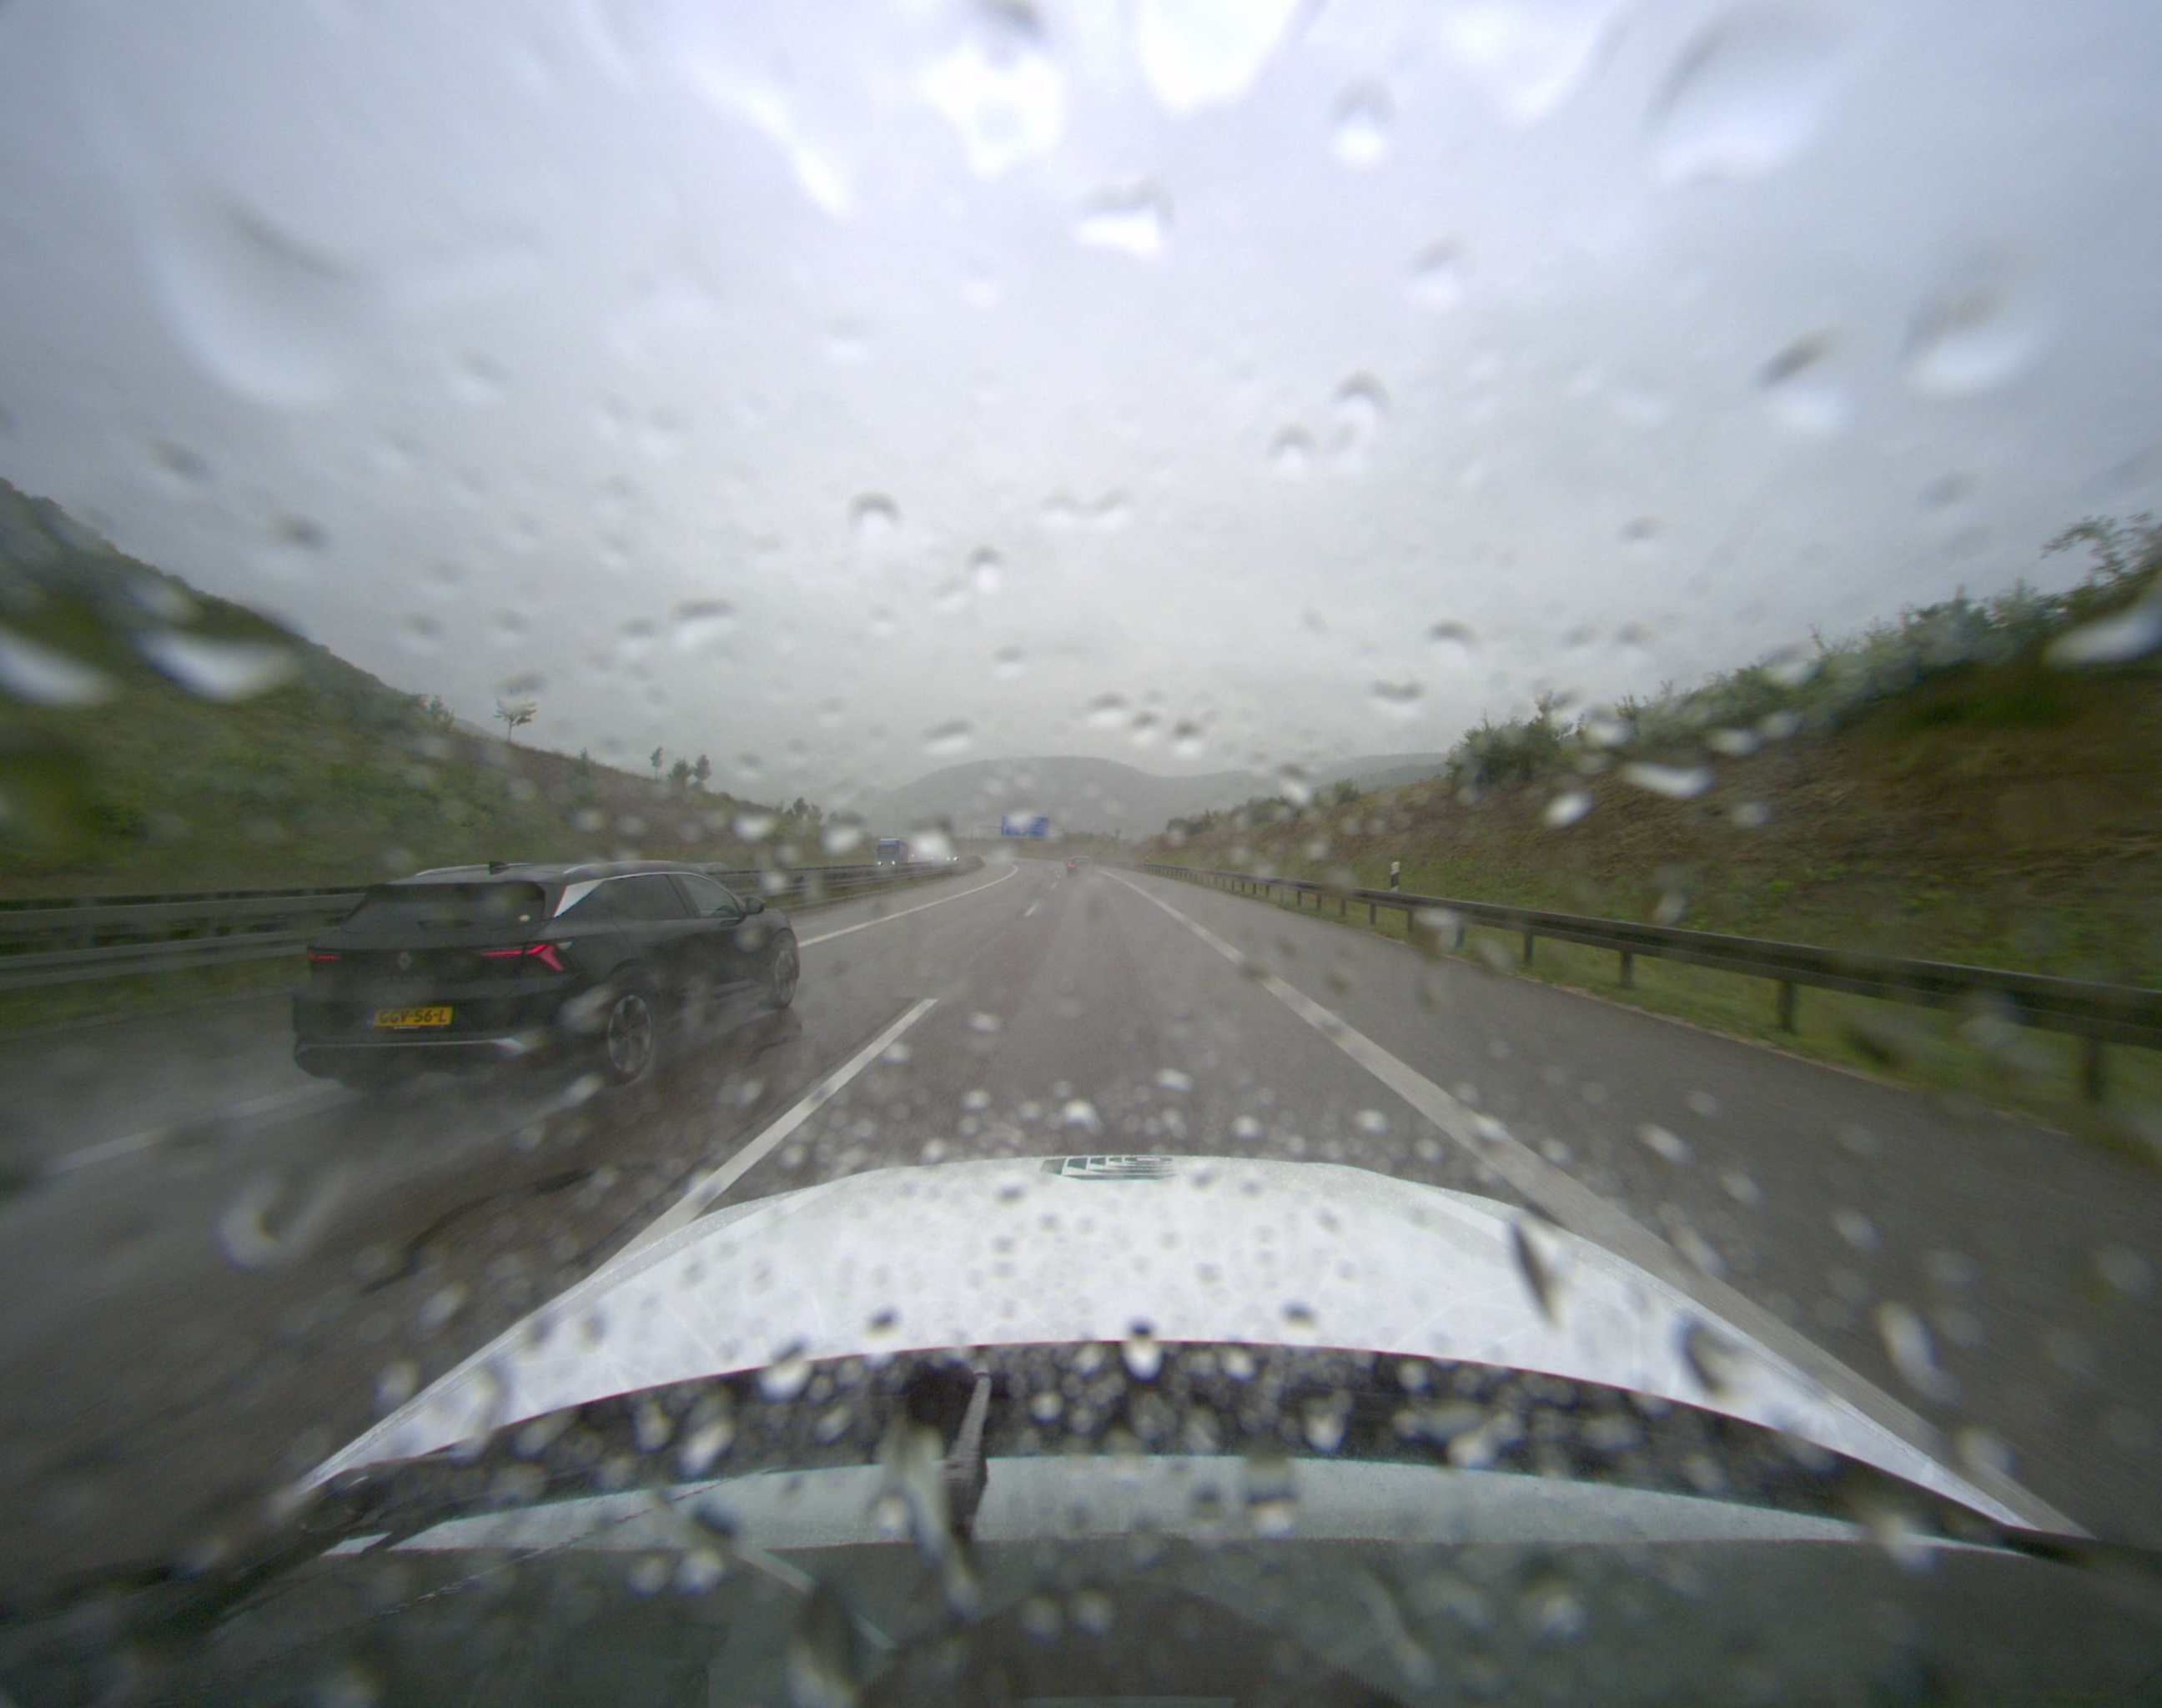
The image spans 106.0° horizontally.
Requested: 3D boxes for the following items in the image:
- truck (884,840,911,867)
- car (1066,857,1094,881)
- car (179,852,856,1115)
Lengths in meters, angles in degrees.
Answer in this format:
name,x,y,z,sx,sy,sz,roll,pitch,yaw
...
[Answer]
name,x,y,z,sx,sy,sz,roll,pitch,yaw
truck,-26.681,-0.068,118.395,2.774,3.683,6.200,-1,0,-3
car,-0.019,0.934,52.947,1.672,1.472,3.817,0,0,2
car,-3.977,0.760,7.152,2.395,1.515,4.789,0,0,4
